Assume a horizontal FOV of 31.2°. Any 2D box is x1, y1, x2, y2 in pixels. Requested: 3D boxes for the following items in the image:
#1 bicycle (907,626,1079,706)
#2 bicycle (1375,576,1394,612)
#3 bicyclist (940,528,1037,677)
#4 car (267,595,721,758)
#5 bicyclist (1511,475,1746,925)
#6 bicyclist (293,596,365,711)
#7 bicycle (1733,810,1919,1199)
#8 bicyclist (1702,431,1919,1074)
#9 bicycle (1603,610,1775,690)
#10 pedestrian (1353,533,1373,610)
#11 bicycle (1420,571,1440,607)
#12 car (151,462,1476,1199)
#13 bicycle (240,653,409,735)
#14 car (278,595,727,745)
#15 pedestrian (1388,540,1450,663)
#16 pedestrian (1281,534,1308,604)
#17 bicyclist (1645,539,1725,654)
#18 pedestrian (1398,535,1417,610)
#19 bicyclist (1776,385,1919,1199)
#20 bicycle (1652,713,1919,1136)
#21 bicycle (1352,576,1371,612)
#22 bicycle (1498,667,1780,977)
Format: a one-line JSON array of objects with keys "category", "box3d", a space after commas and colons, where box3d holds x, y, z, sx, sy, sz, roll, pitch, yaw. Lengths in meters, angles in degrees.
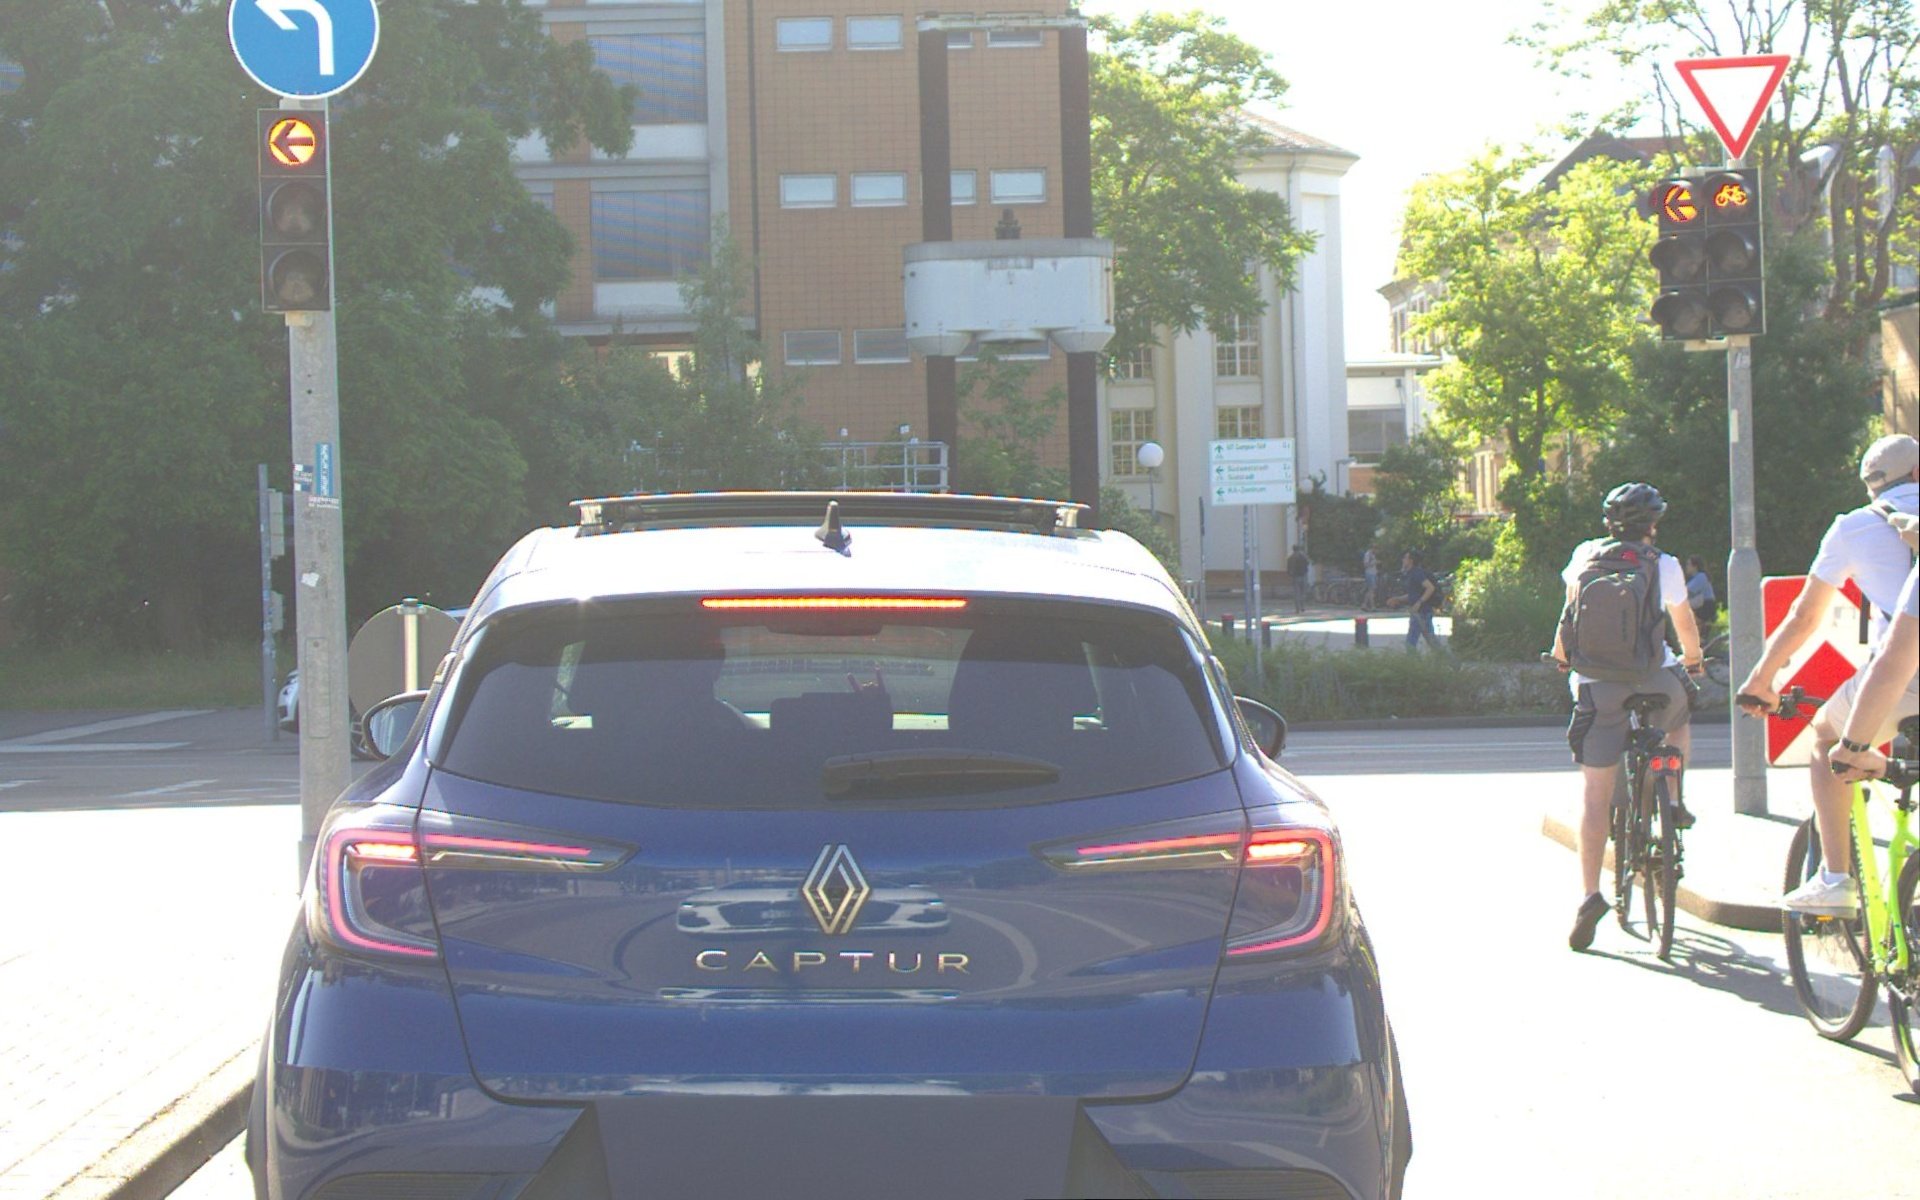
[{"category": "bicycle", "box3d": [0.427, 0.845, 44.051, 2.082, 0.927, 0.696, -2, 2, 11]}, {"category": "bicycle", "box3d": [11.603, -0.169, 94.042, 0.405, 0.969, 1.683, 1, 1, 4]}, {"category": "bicyclist", "box3d": [0.371, 0.031, 44.074, 1.102, 1.860, 0.653, -1, 2, 10]}, {"category": "car", "box3d": [-4.913, 0.801, 36.408, 4.375, 1.626, 1.843, -1, 1, 13]}, {"category": "bicyclist", "box3d": [2.500, 0.357, 12.950, 0.726, 1.623, 0.969, 1, 0, 4]}, {"category": "bicyclist", "box3d": [-8.042, 0.677, 43.792, 0.737, 1.436, 0.598, -2, 1, -27]}, {"category": "bicycle", "box3d": [2.220, 0.964, 7.261, 0.740, 0.893, 1.978, 1, 1, 1]}, {"category": "bicyclist", "box3d": [2.615, 0.409, 9.815, 0.645, 1.733, 1.067, 1, 0, -6]}, {"category": "bicycle", "box3d": [9.206, 0.636, 43.468, 2.077, 0.961, 0.598, -1, 1, 9]}, {"category": "pedestrian", "box3d": [10.680, -0.756, 91.067, 0.475, 2.007, 0.523, -1, 1, 6]}, {"category": "bicycle", "box3d": [12.907, -0.298, 94.421, 0.405, 0.969, 1.683, 1, 1, 4]}, {"category": "car", "box3d": [-0.276, 0.607, 6.701, 1.803, 1.626, 4.000, 0, 1, -2]}, {"category": "bicycle", "box3d": [-8.090, 1.190, 43.774, 2.005, 0.961, 0.598, -2, 1, -27]}, {"category": "car", "box3d": [-5.298, 0.805, 40.016, 4.826, 1.626, 1.843, -1, 0, 11]}, {"category": "pedestrian", "box3d": [6.040, 0.016, 45.200, 0.737, 1.598, 0.598, -1, 1, 12]}, {"category": "pedestrian", "box3d": [8.906, -0.836, 91.597, 0.623, 1.849, 0.563, -1, 1, 0]}, {"category": "bicyclist", "box3d": [9.156, -0.051, 43.459, 0.937, 1.424, 0.598, -1, 1, 9]}, {"category": "pedestrian", "box3d": [12.028, -0.751, 92.399, 0.475, 2.007, 0.468, -1, 1, 6]}, {"category": "bicyclist", "box3d": [2.224, 0.410, 7.250, 0.751, 1.663, 1.016, 1, 0, 1]}, {"category": "bicycle", "box3d": [2.604, 0.868, 9.826, 0.659, 0.999, 1.970, 1, 1, -6]}, {"category": "bicycle", "box3d": [10.981, -0.178, 94.085, 0.405, 0.969, 1.683, 1, 1, 4]}, {"category": "bicycle", "box3d": [2.502, 0.784, 12.906, 0.739, 0.992, 2.173, 1, 1, 3]}]
